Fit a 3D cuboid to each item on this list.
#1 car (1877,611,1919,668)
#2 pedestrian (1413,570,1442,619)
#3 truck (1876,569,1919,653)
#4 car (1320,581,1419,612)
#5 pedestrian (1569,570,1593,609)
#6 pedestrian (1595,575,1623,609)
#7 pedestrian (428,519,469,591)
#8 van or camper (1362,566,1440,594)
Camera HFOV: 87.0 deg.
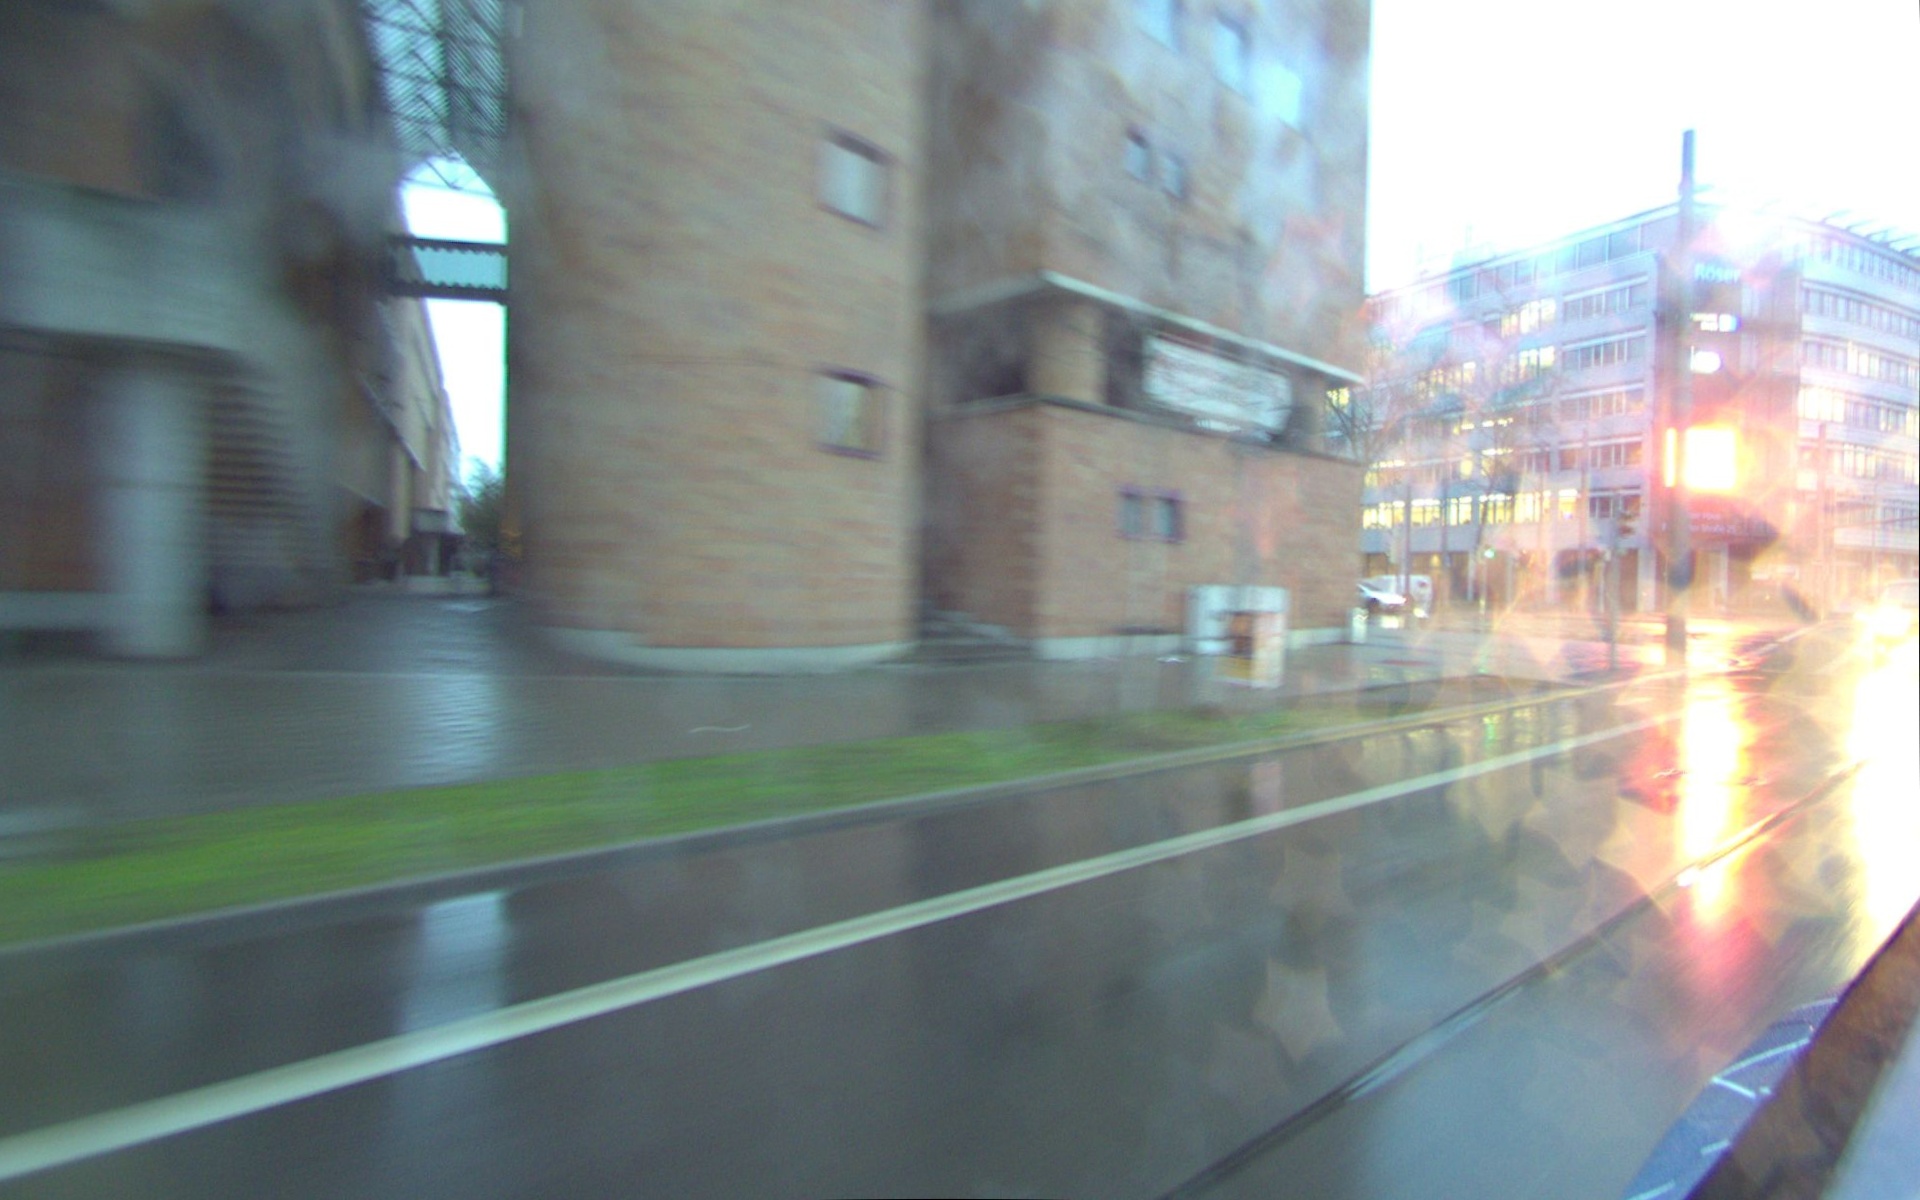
[{"bbox_3d":[33.346,1.311,34.374,4.594,1.842,1.913,0,0,-30],"label":"car"},{"bbox_3d":[17.596,-0.229,38.077,0.722,1.809,0.735,0,2,-42],"label":"pedestrian"},{"bbox_3d":[24.178,0.267,24.853,4.535,1.941,1.908,0,0,-40],"label":"truck"},{"bbox_3d":[19.359,-0.201,47.955,1.780,1.357,3.994,0,2,-36],"label":"car"},{"bbox_3d":[29.710,-0.513,48.437,0.789,1.833,0.647,2,1,17],"label":"pedestrian"},{"bbox_3d":[35.607,-0.461,55.497,1.148,1.809,0.766,2,2,41],"label":"pedestrian"},{"bbox_3d":[-13.147,-1.149,26.020,0.895,1.796,0.829,1,1,-27],"label":"pedestrian"},{"bbox_3d":[30.908,-1.423,71.059,1.808,1.953,4.745,0,1,-37],"label":"van or camper"}]
